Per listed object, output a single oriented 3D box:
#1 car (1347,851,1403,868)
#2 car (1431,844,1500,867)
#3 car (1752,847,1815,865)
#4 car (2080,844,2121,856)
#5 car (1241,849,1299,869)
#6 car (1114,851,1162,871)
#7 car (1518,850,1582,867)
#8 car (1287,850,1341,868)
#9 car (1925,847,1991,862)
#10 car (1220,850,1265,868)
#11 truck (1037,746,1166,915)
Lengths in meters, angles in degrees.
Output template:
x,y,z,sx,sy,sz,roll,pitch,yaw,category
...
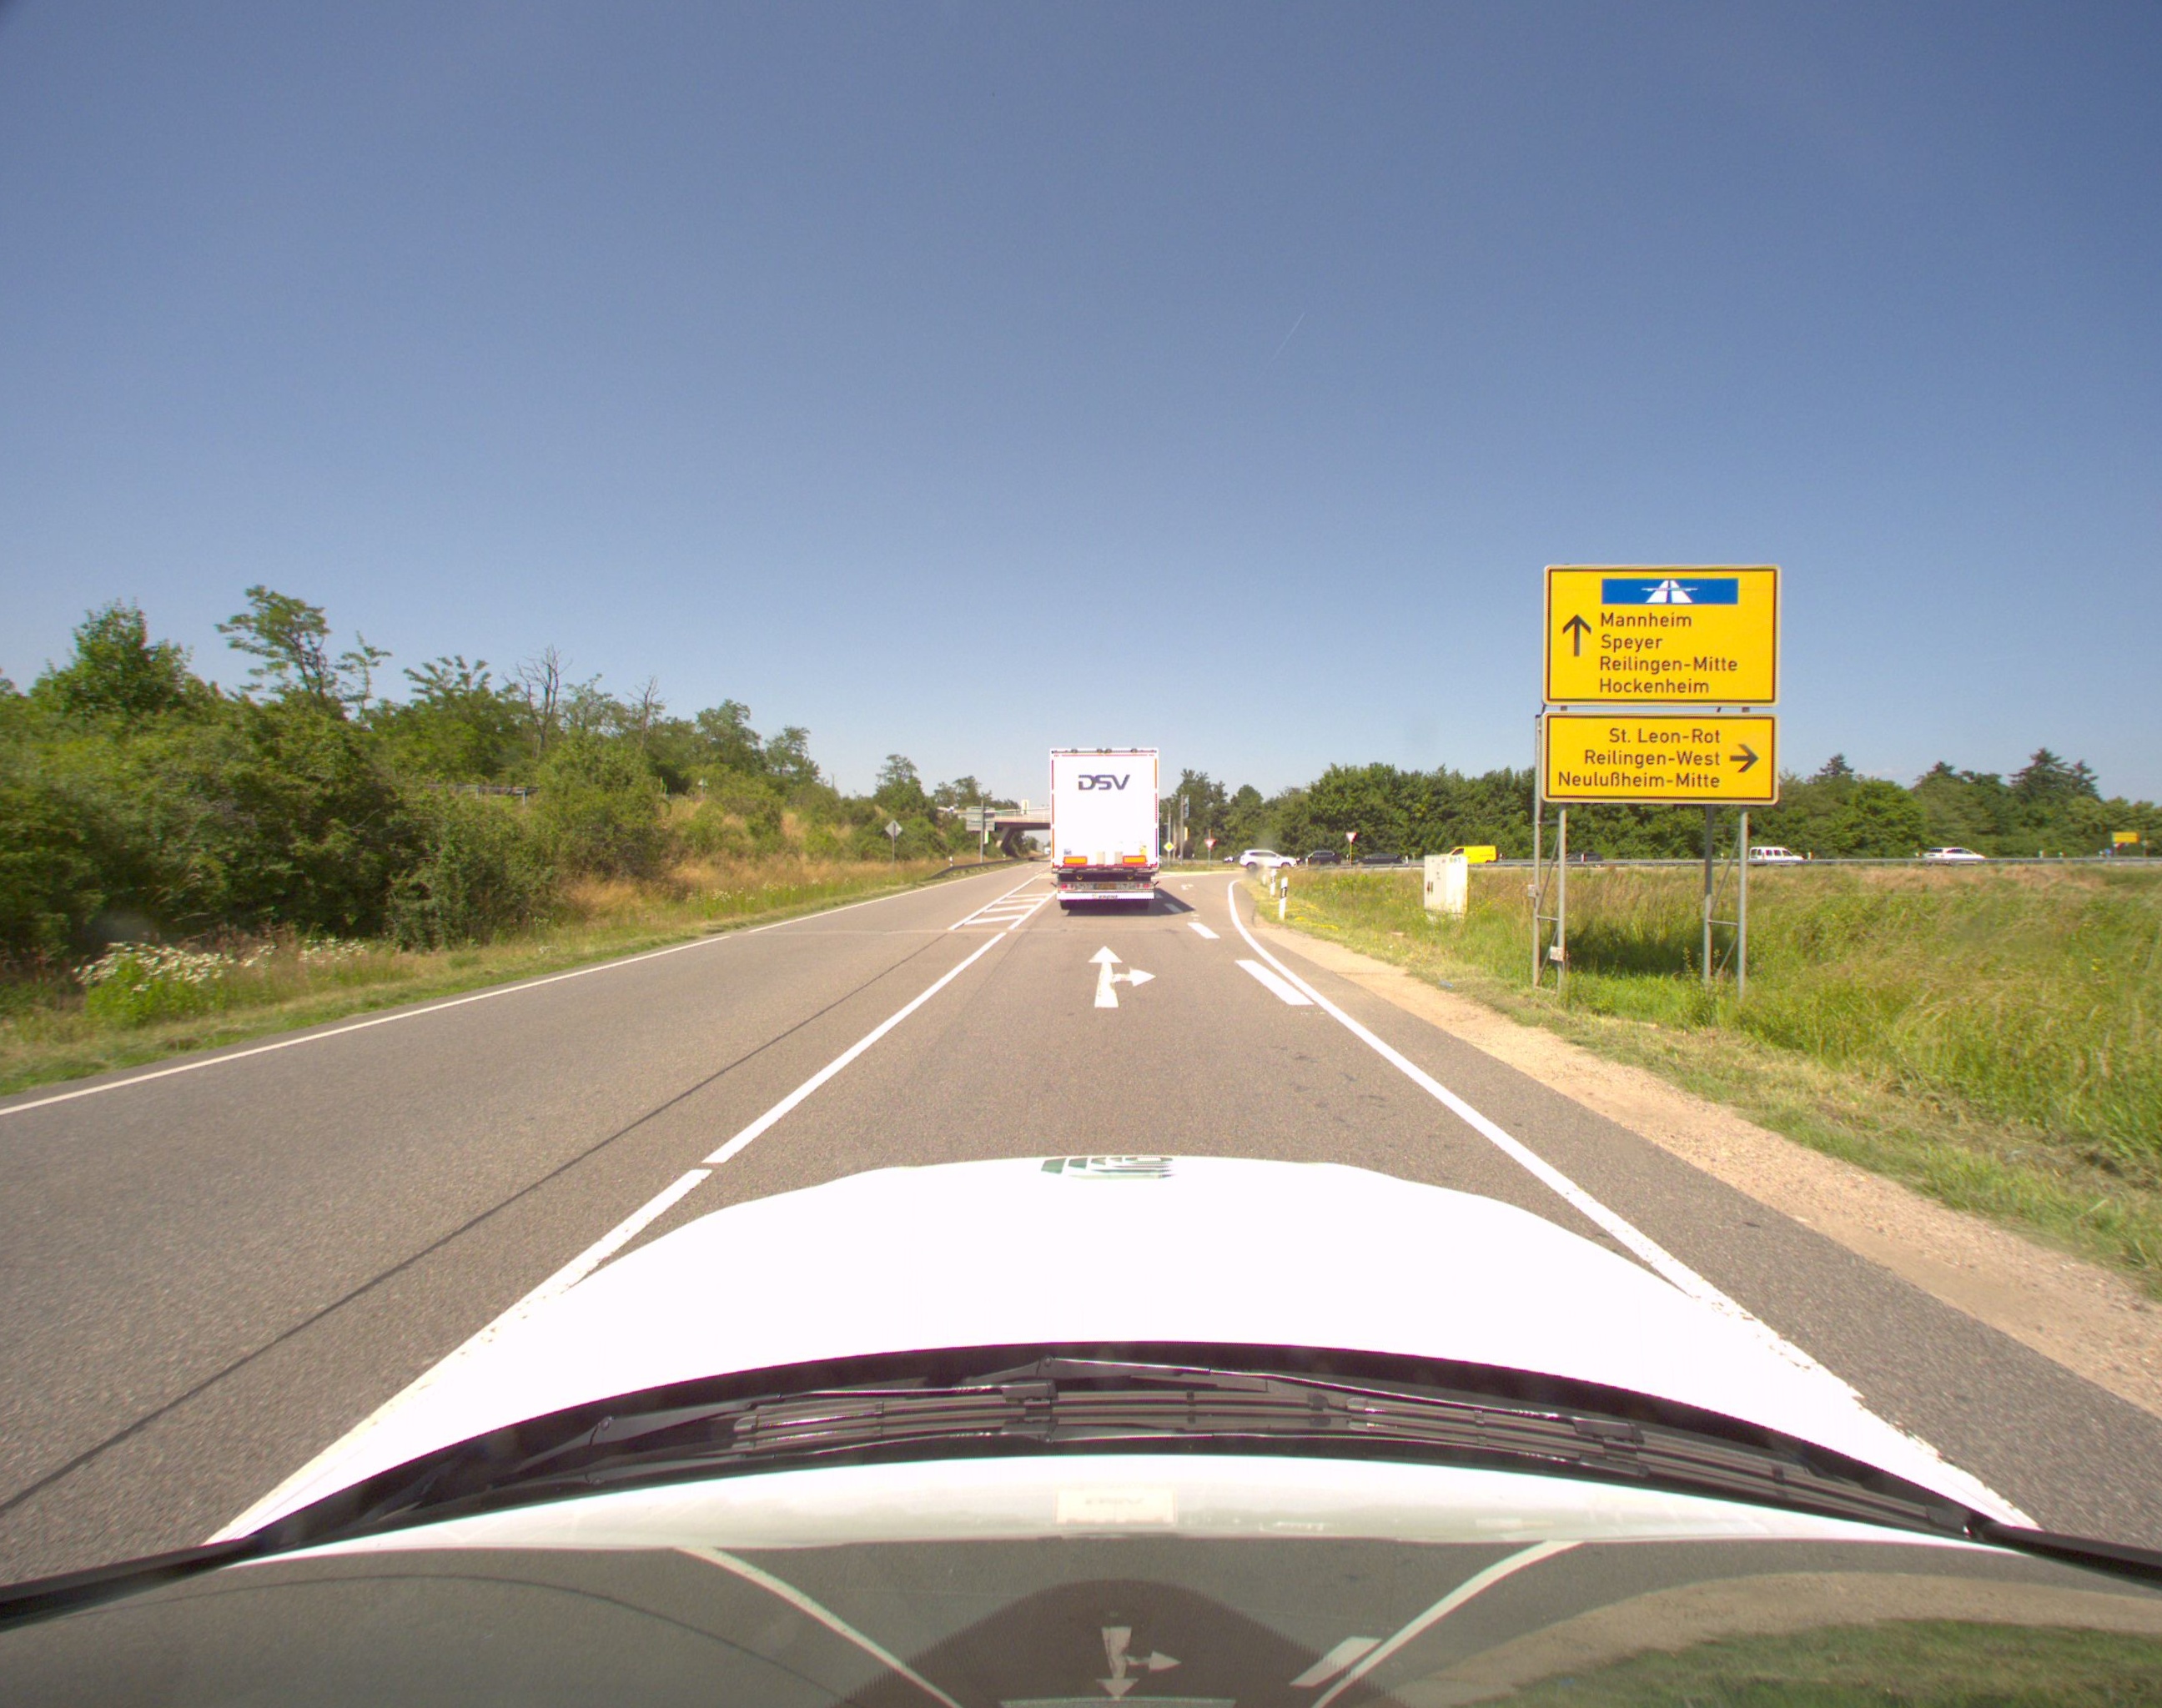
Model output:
x,y,z,sx,sy,sz,roll,pitch,yaw,category
27.116,0.552,75.275,4.655,1.514,1.858,0,-1,9,car
34.556,0.150,73.272,5.300,2.014,2.001,0,-1,3,car
60.393,0.175,70.043,3.977,1.569,1.715,0,-1,-3,car
125.625,-0.462,100.395,1.829,1.514,4.727,-1,-1,35,car
15.014,0.427,65.008,4.441,1.567,1.744,0,-1,10,car
4.686,0.564,66.601,3.655,1.567,1.746,0,-1,13,car
42.101,0.408,73.132,4.661,1.514,1.855,0,-1,4,car
21.148,0.480,74.045,4.466,1.598,1.770,0,-1,4,car
75.884,0.052,70.458,3.976,1.189,1.716,0,-1,-2,car
15.102,0.449,76.250,3.964,1.640,1.845,0,-1,7,car
0.612,-0.542,23.965,2.977,3.942,9.878,0,0,1,truck
